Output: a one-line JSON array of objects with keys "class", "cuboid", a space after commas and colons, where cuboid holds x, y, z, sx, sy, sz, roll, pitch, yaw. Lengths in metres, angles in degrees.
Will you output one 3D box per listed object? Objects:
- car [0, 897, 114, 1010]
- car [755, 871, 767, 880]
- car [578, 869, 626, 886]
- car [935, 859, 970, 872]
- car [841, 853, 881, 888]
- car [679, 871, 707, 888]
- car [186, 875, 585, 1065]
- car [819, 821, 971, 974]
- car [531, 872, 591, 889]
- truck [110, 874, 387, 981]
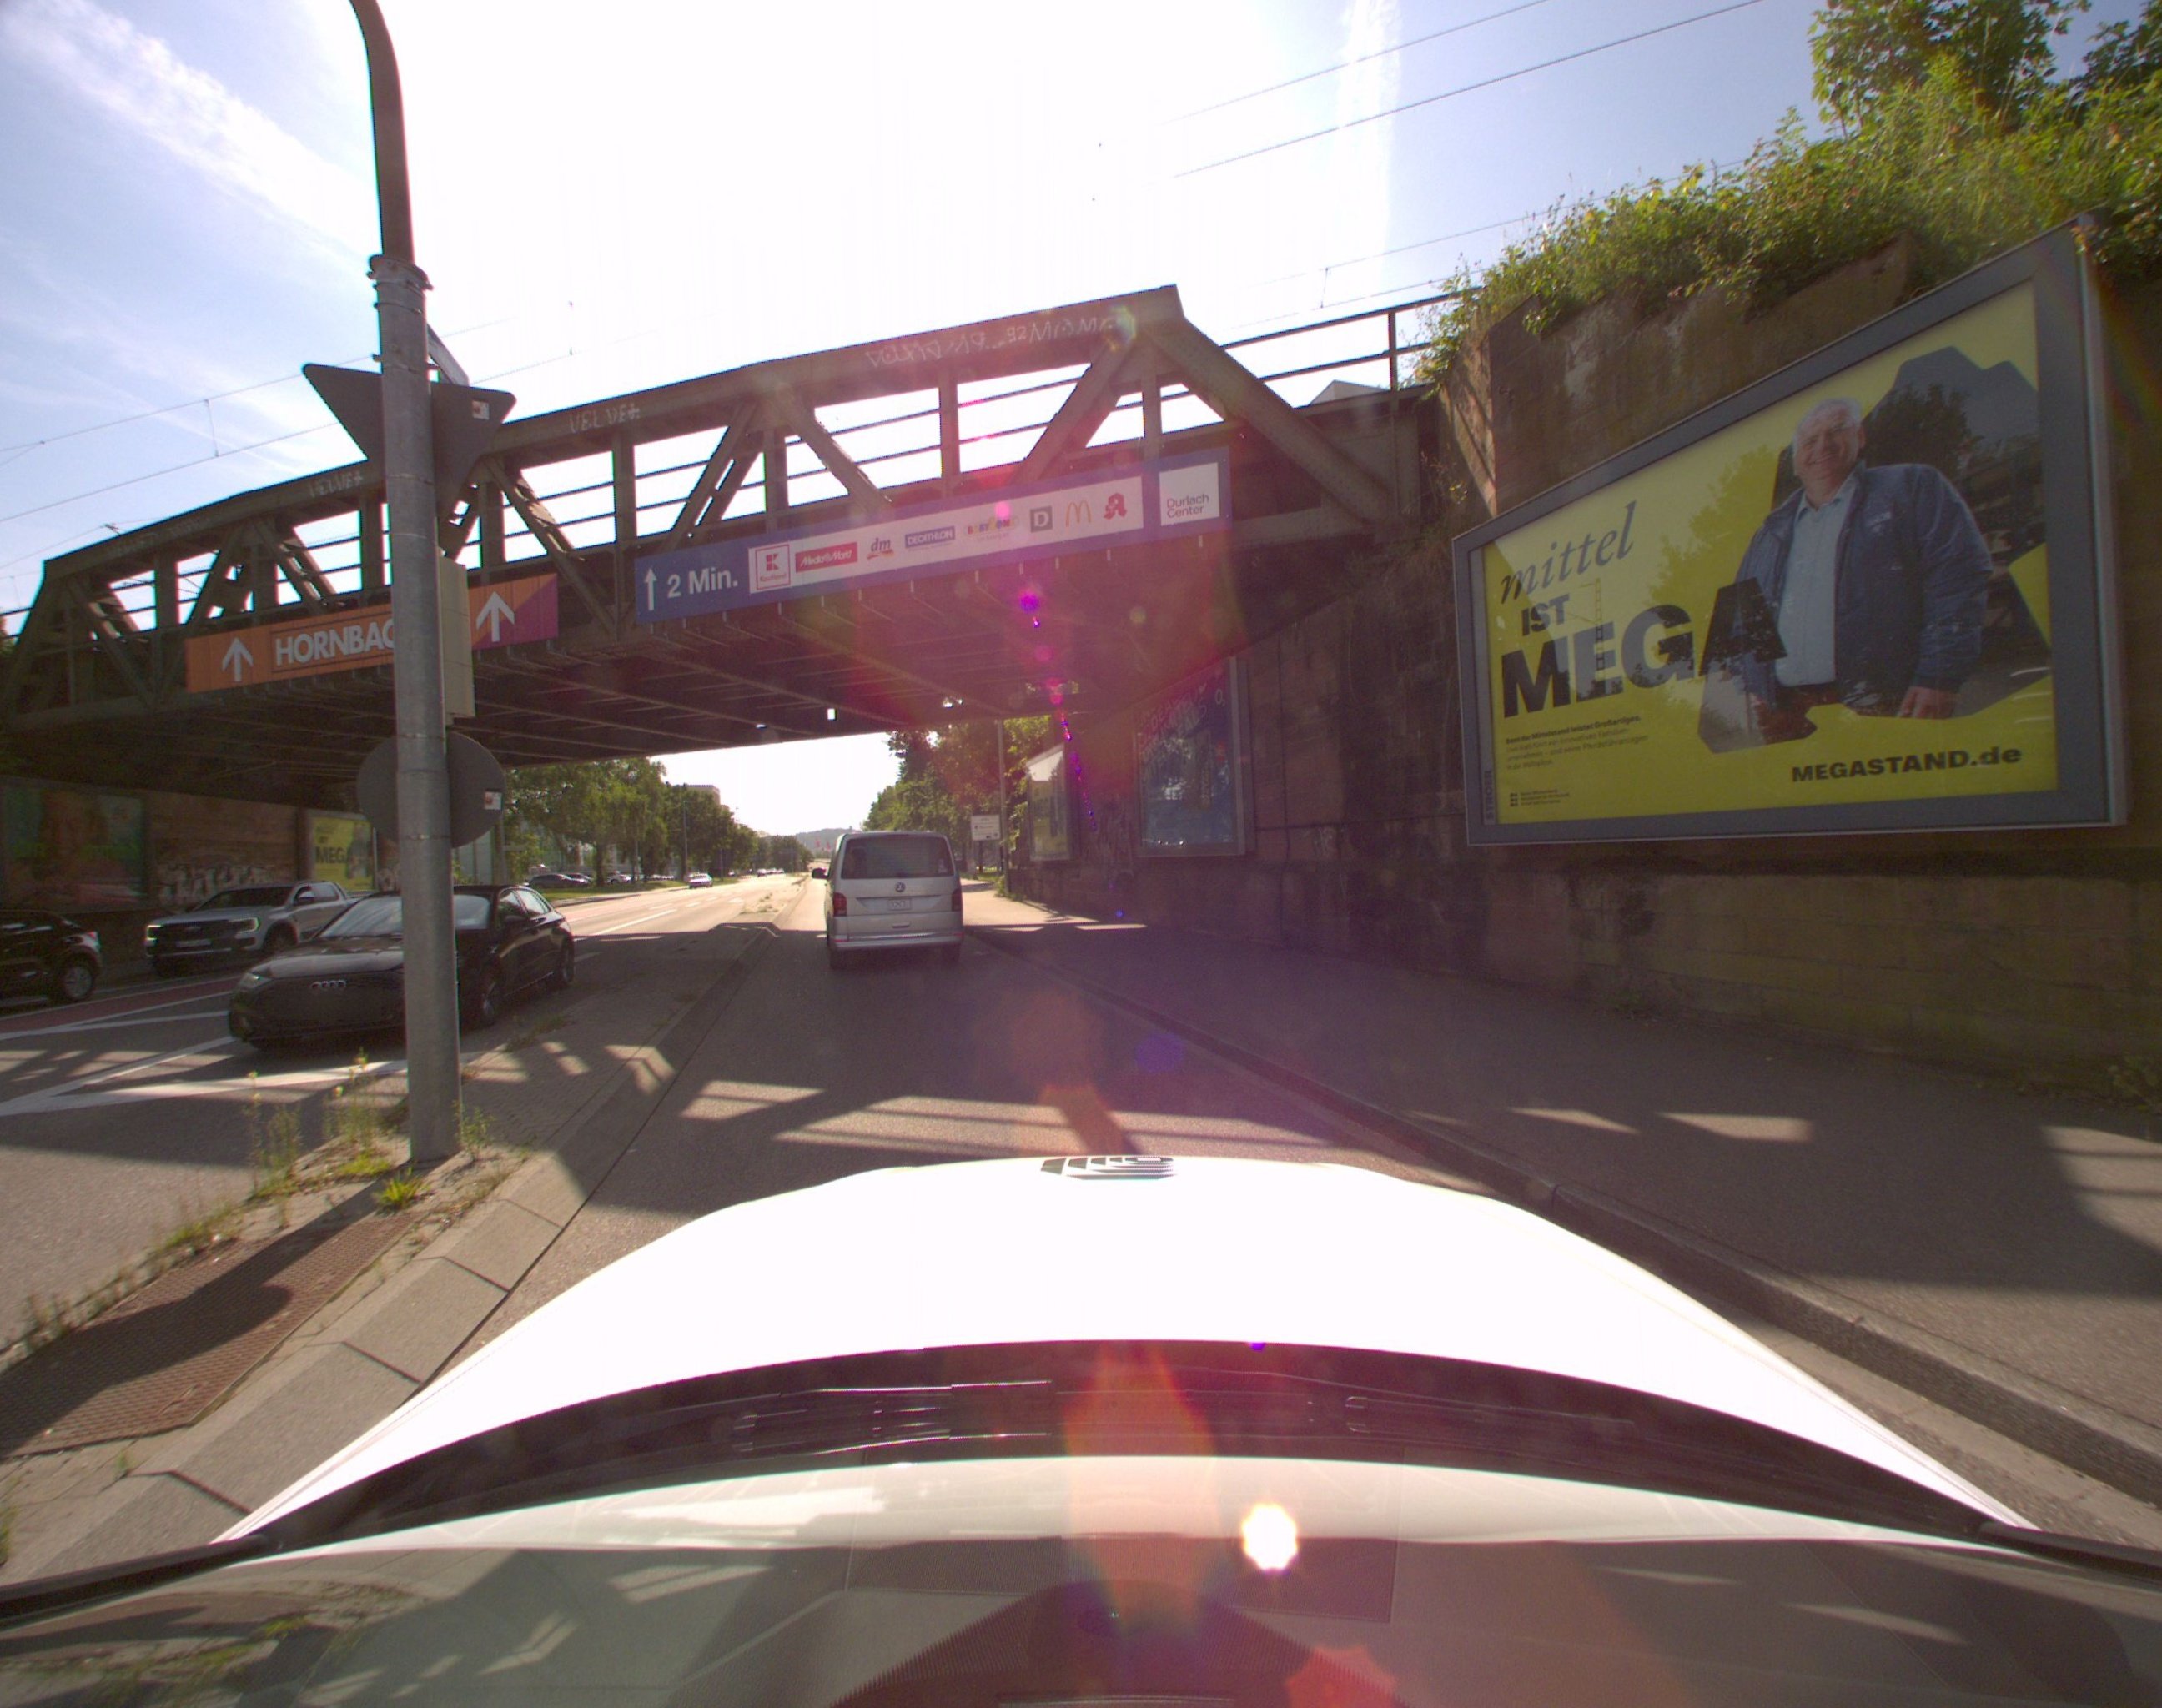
[{"class": "car", "cuboid": [-15.640, 1.463, 10.744, 1.823, 1.480, 3.919, -5, 1, -18]}, {"class": "car", "cuboid": [-60.579, 4.082, 154.420, 1.975, 1.492, 4.054, -2, 0, -21]}, {"class": "car", "cuboid": [-51.732, 2.497, 87.989, 4.258, 1.547, 1.851, -2, 0, -24]}, {"class": "car", "cuboid": [-15.305, 1.332, 96.947, 3.808, 1.416, 1.692, -3, 0, -17]}, {"class": "car", "cuboid": [-13.326, 0.966, 49.223, 1.974, 1.924, 4.531, -2, 0, -19]}, {"class": "car", "cuboid": [-37.139, 2.422, 78.010, 1.975, 1.492, 4.054, -2, 0, -21]}, {"class": "car", "cuboid": [-7.004, 0.991, 8.868, 1.771, 1.395, 4.307, -2, 0, -19]}, {"class": "car", "cuboid": [-3.211, 0.582, 13.253, 1.947, 1.971, 4.991, -1, 0, -18]}, {"class": "car", "cuboid": [-46.797, 2.365, 73.423, 4.258, 1.344, 1.984, -2, 0, -24]}, {"class": "truck", "cuboid": [-18.400, 1.481, 18.469, 2.032, 1.819, 5.293, -5, 1, -18]}]
